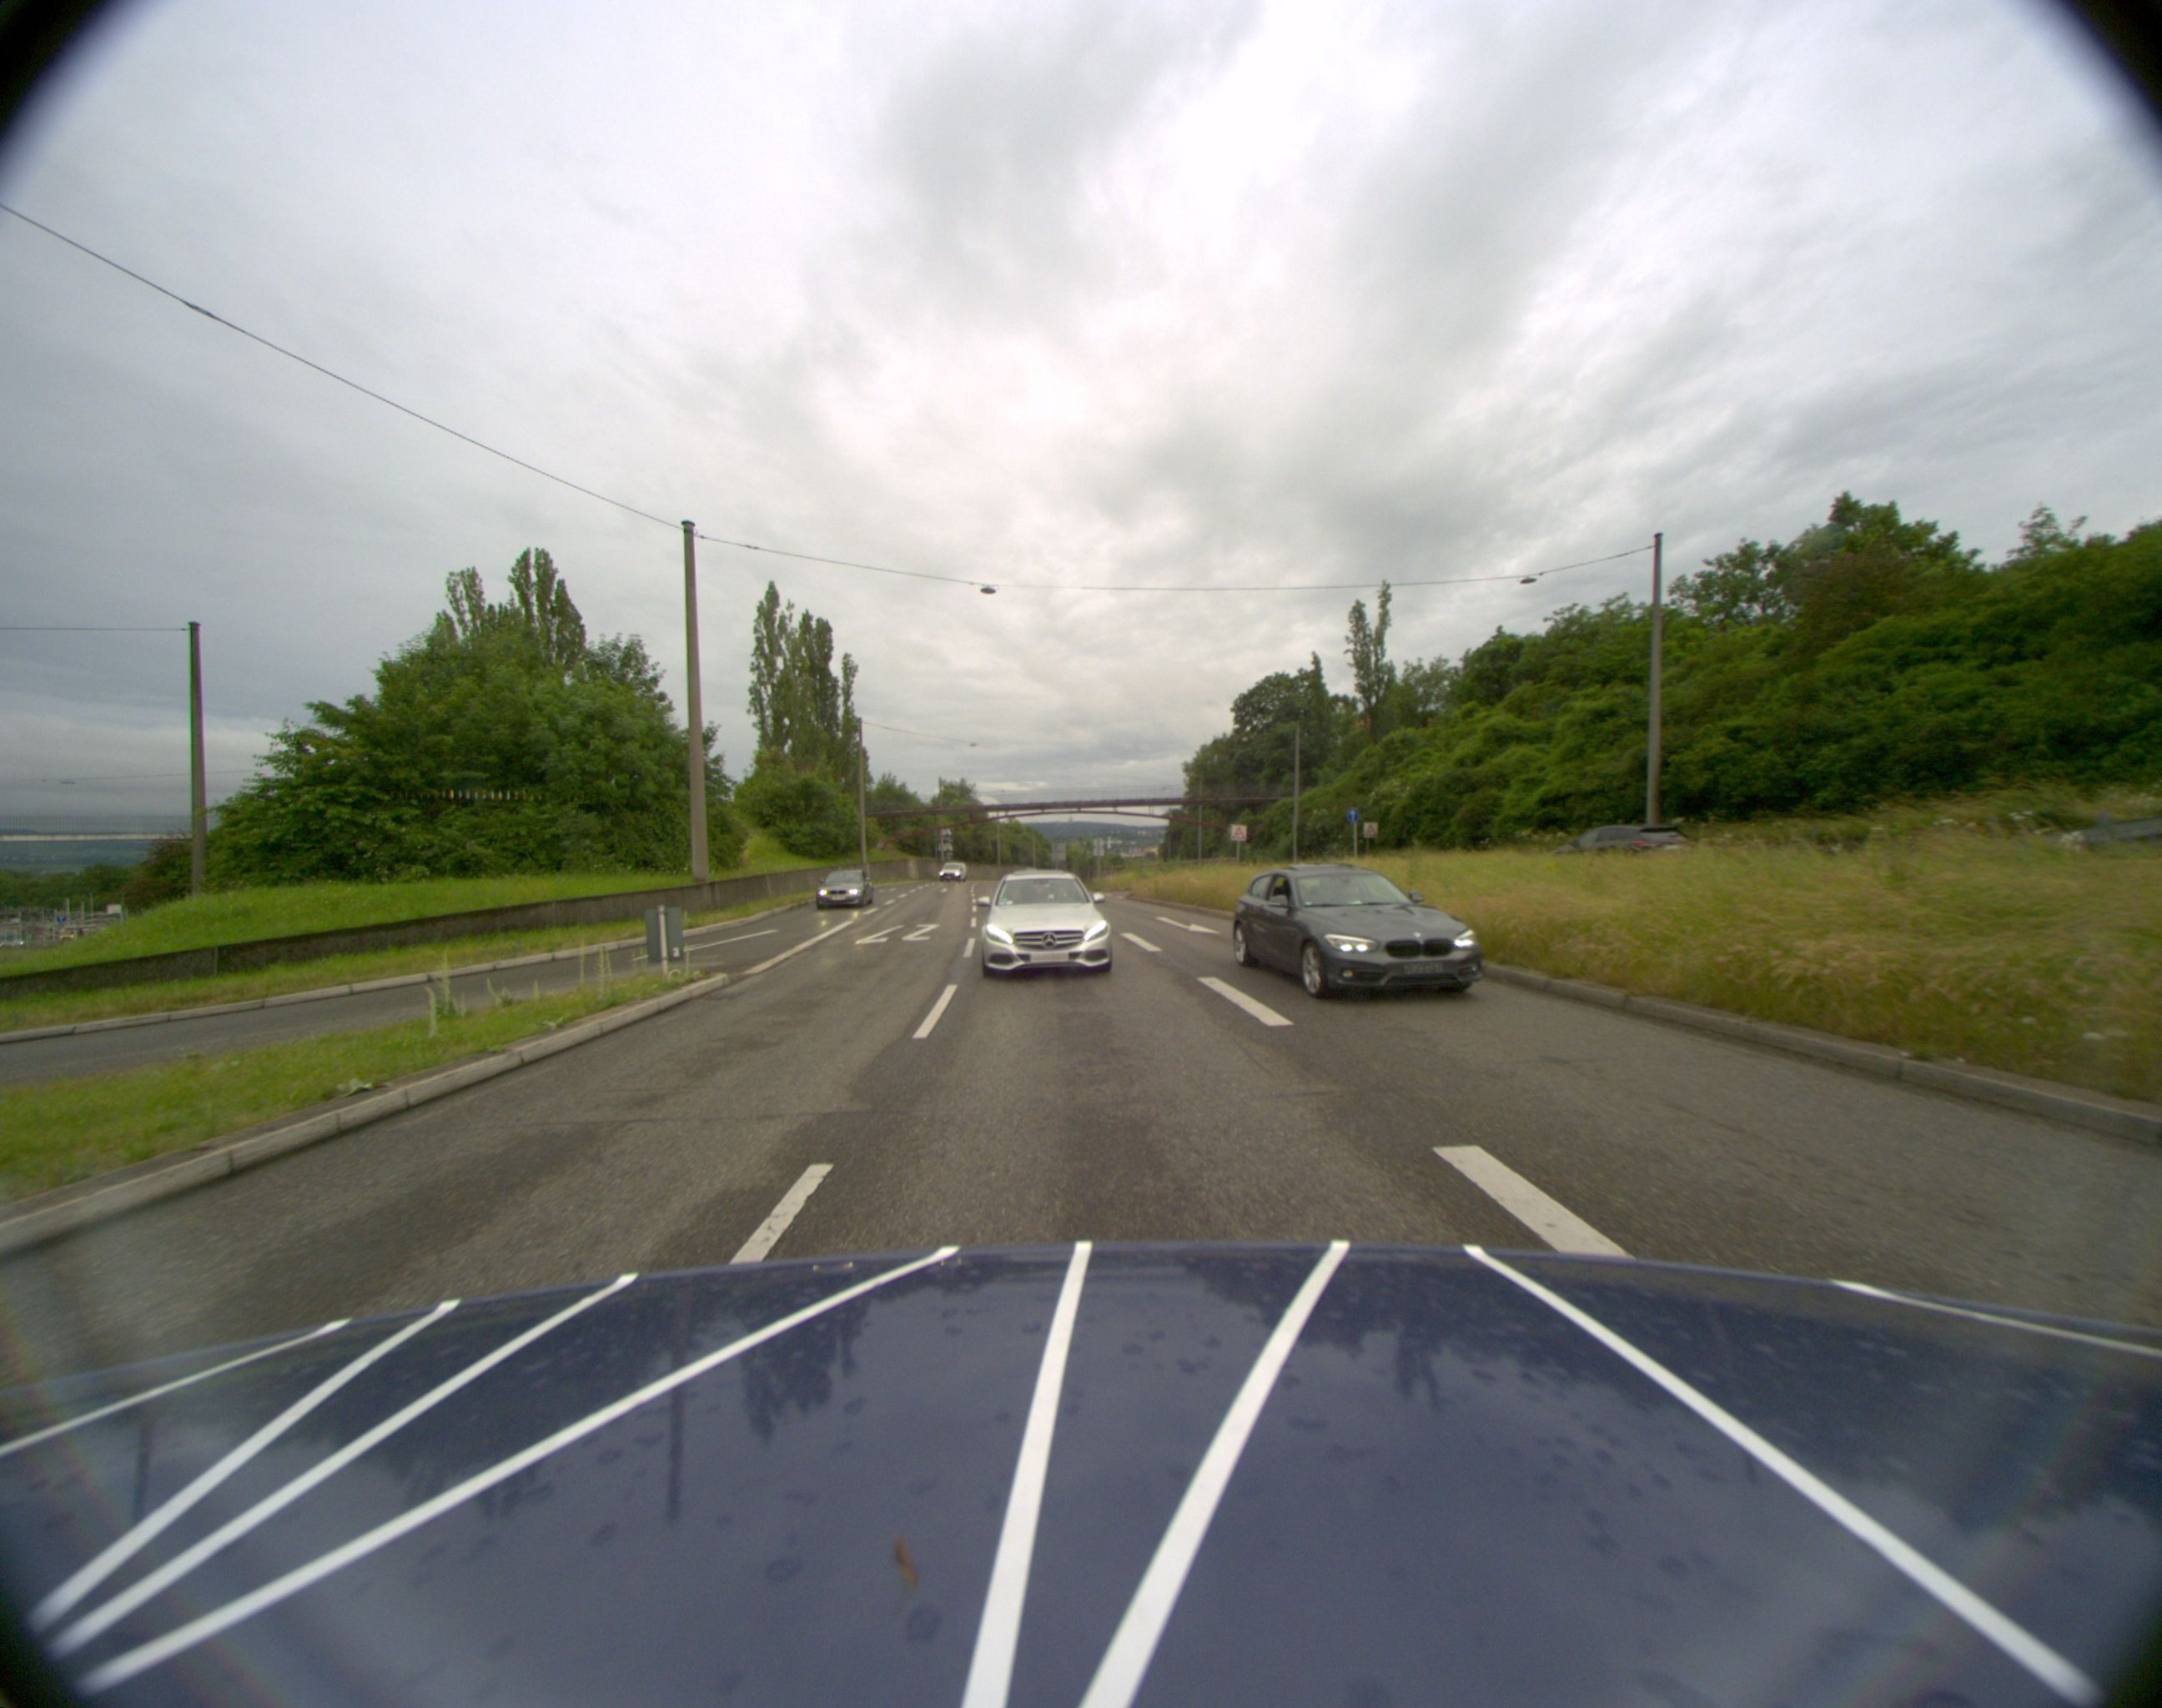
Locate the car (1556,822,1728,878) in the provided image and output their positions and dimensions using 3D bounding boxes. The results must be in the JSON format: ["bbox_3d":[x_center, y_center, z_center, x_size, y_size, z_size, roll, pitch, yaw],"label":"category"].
[{"bbox_3d":[16.507,-0.133,22.686,1.998,1.445,4.285,-2,1,1],"label":"car"}]

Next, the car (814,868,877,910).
[{"bbox_3d":[-9.059,1.303,29.526,1.685,1.411,4.079,-3,-1,-9],"label":"car"}]

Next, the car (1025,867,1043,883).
[{"bbox_3d":[-5.039,2.277,82.081,1.646,1.495,3.780,-3,-3,0],"label":"car"}]

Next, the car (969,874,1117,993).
[{"bbox_3d":[-0.680,1.081,11.944,1.895,1.360,4.132,-2,1,-5],"label":"car"}]

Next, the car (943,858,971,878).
[{"bbox_3d":[-12.152,1.392,74.880,1.999,1.837,4.822,0,1,-1],"label":"car"}]

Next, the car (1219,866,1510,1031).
[{"bbox_3d":[3.170,0.944,9.481,1.708,1.451,4.111,-2,1,-6],"label":"car"}]
